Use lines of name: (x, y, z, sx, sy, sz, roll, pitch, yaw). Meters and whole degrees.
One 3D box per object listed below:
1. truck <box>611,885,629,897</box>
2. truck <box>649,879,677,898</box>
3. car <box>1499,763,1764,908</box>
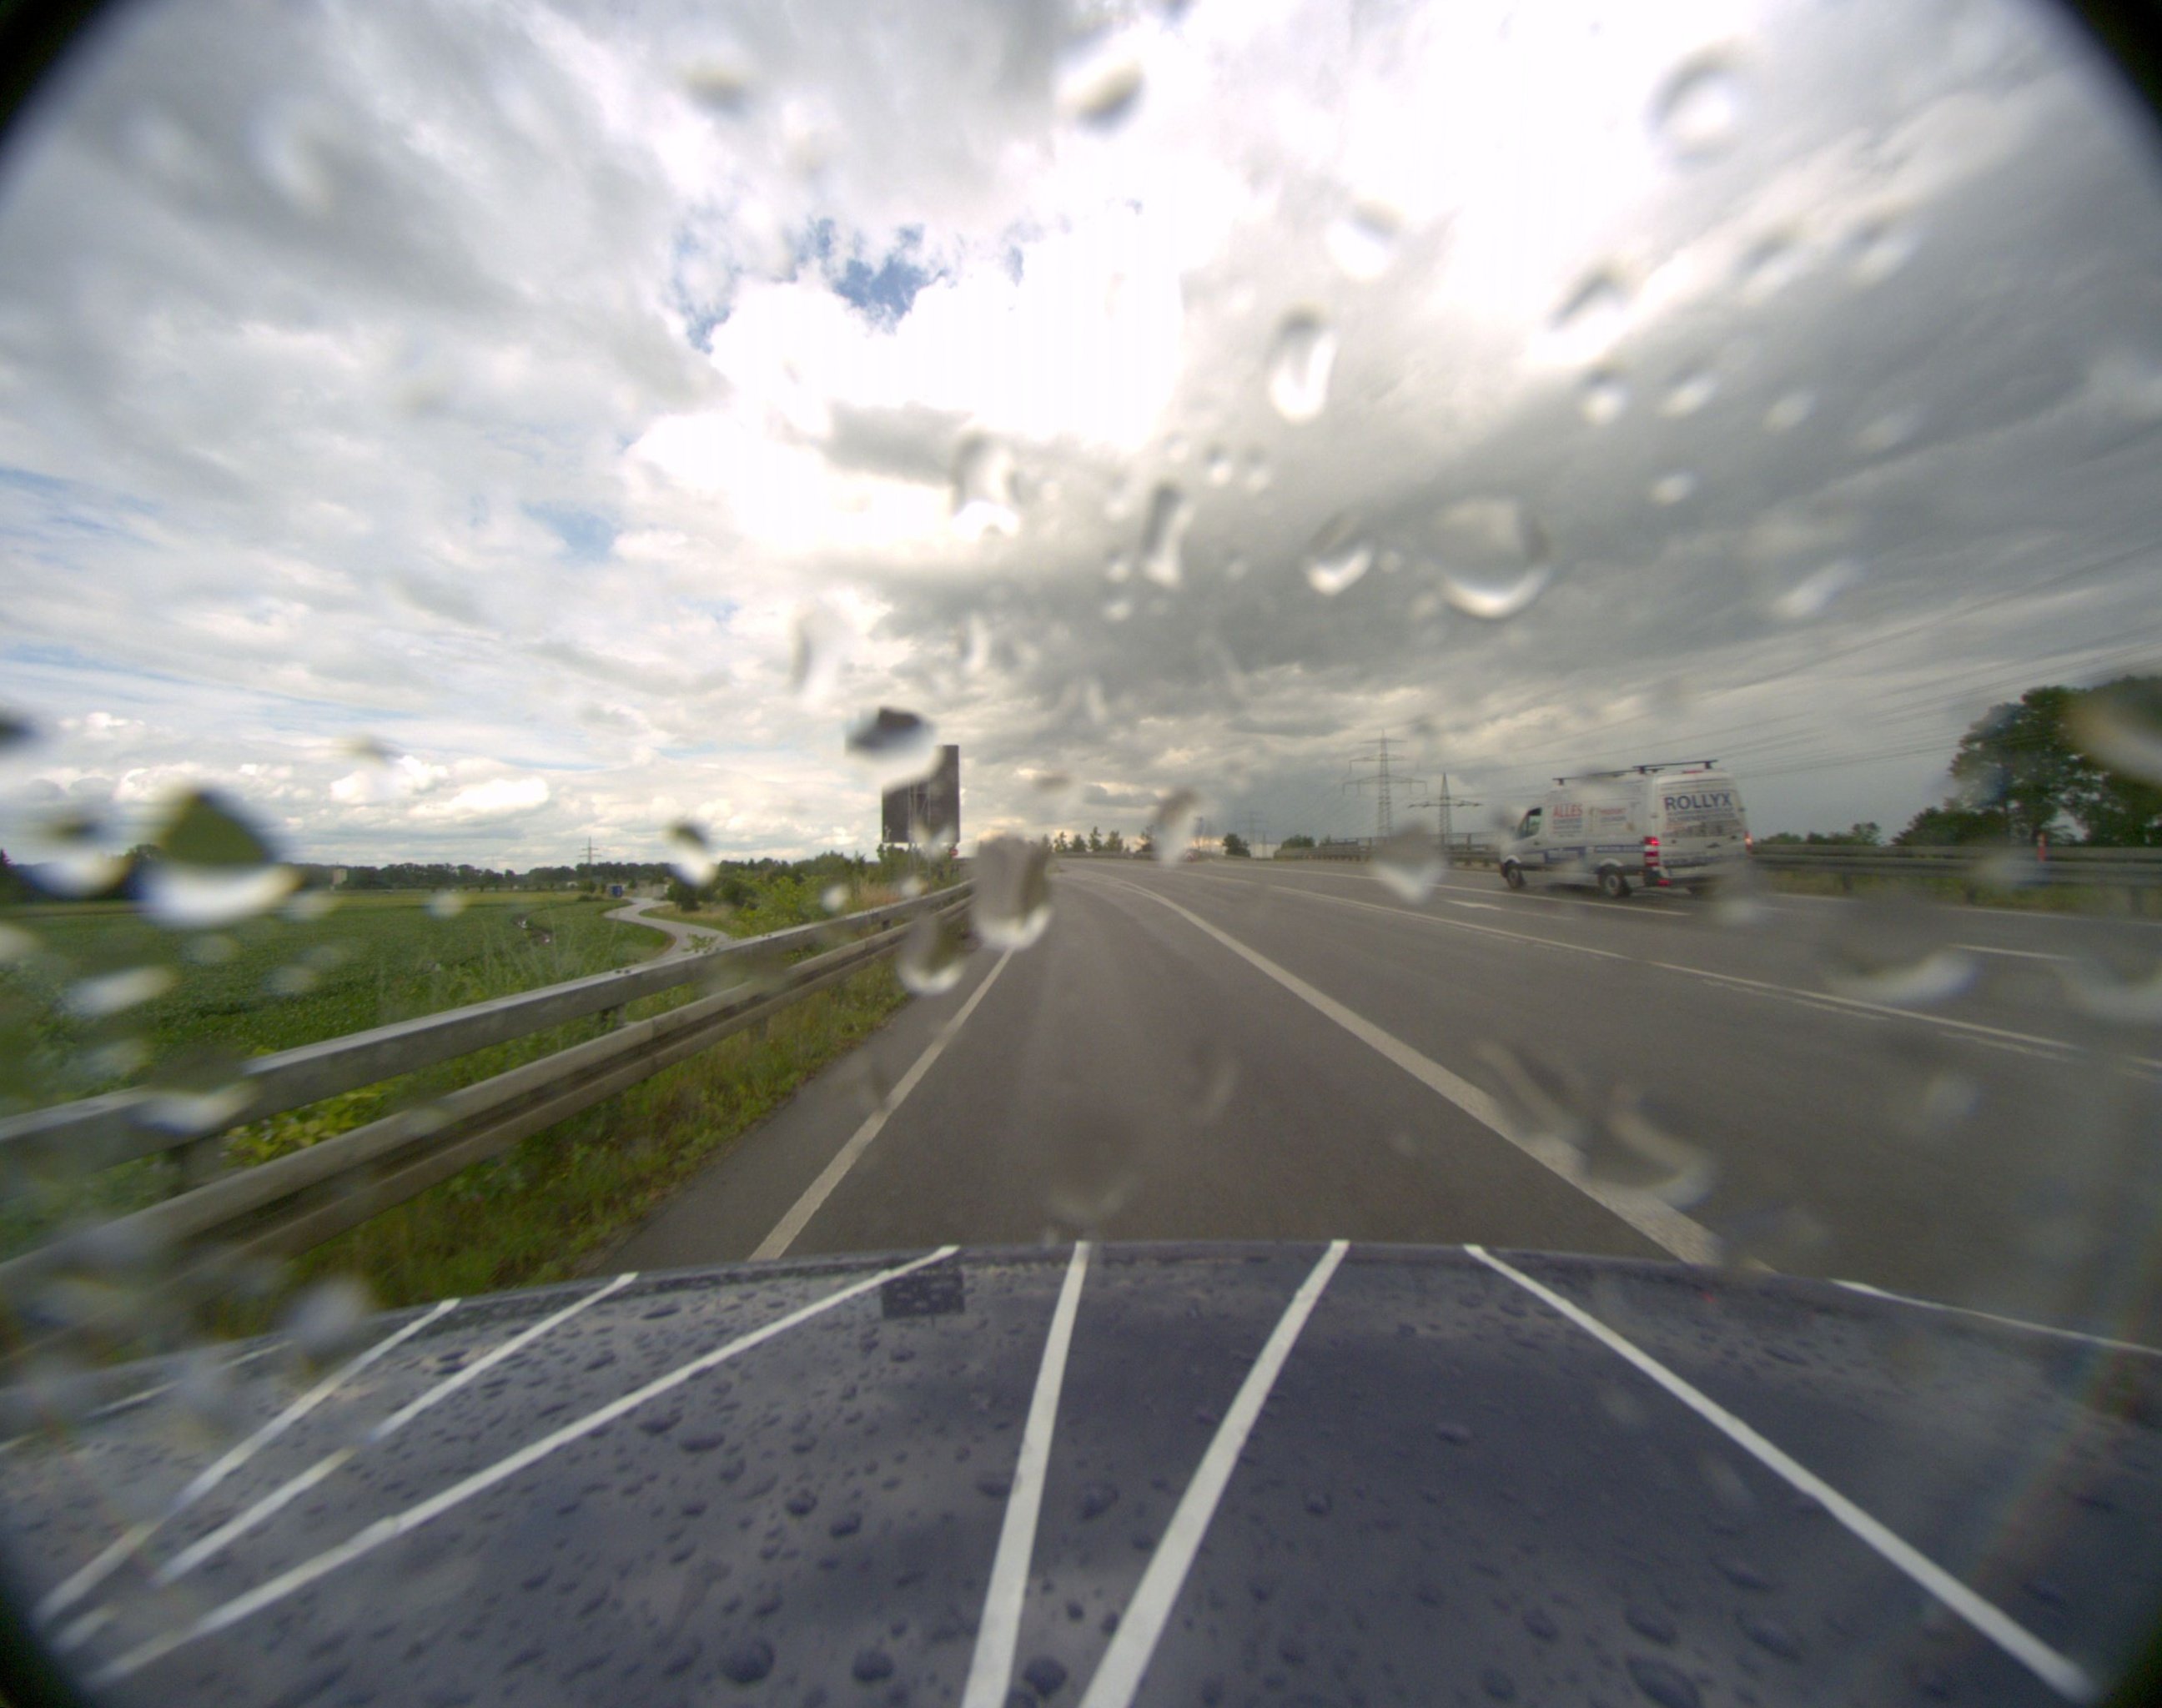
truck: (-123.521, 9.925, 203.728, 2.631, 2.727, 6.918, -4, 0, -43)
truck: (-104.130, 8.611, 189.101, 3.263, 4.313, 11.658, -3, 1, -43)
car: (11.816, -0.368, 16.957, 1.975, 2.639, 5.459, -2, 1, 1)
